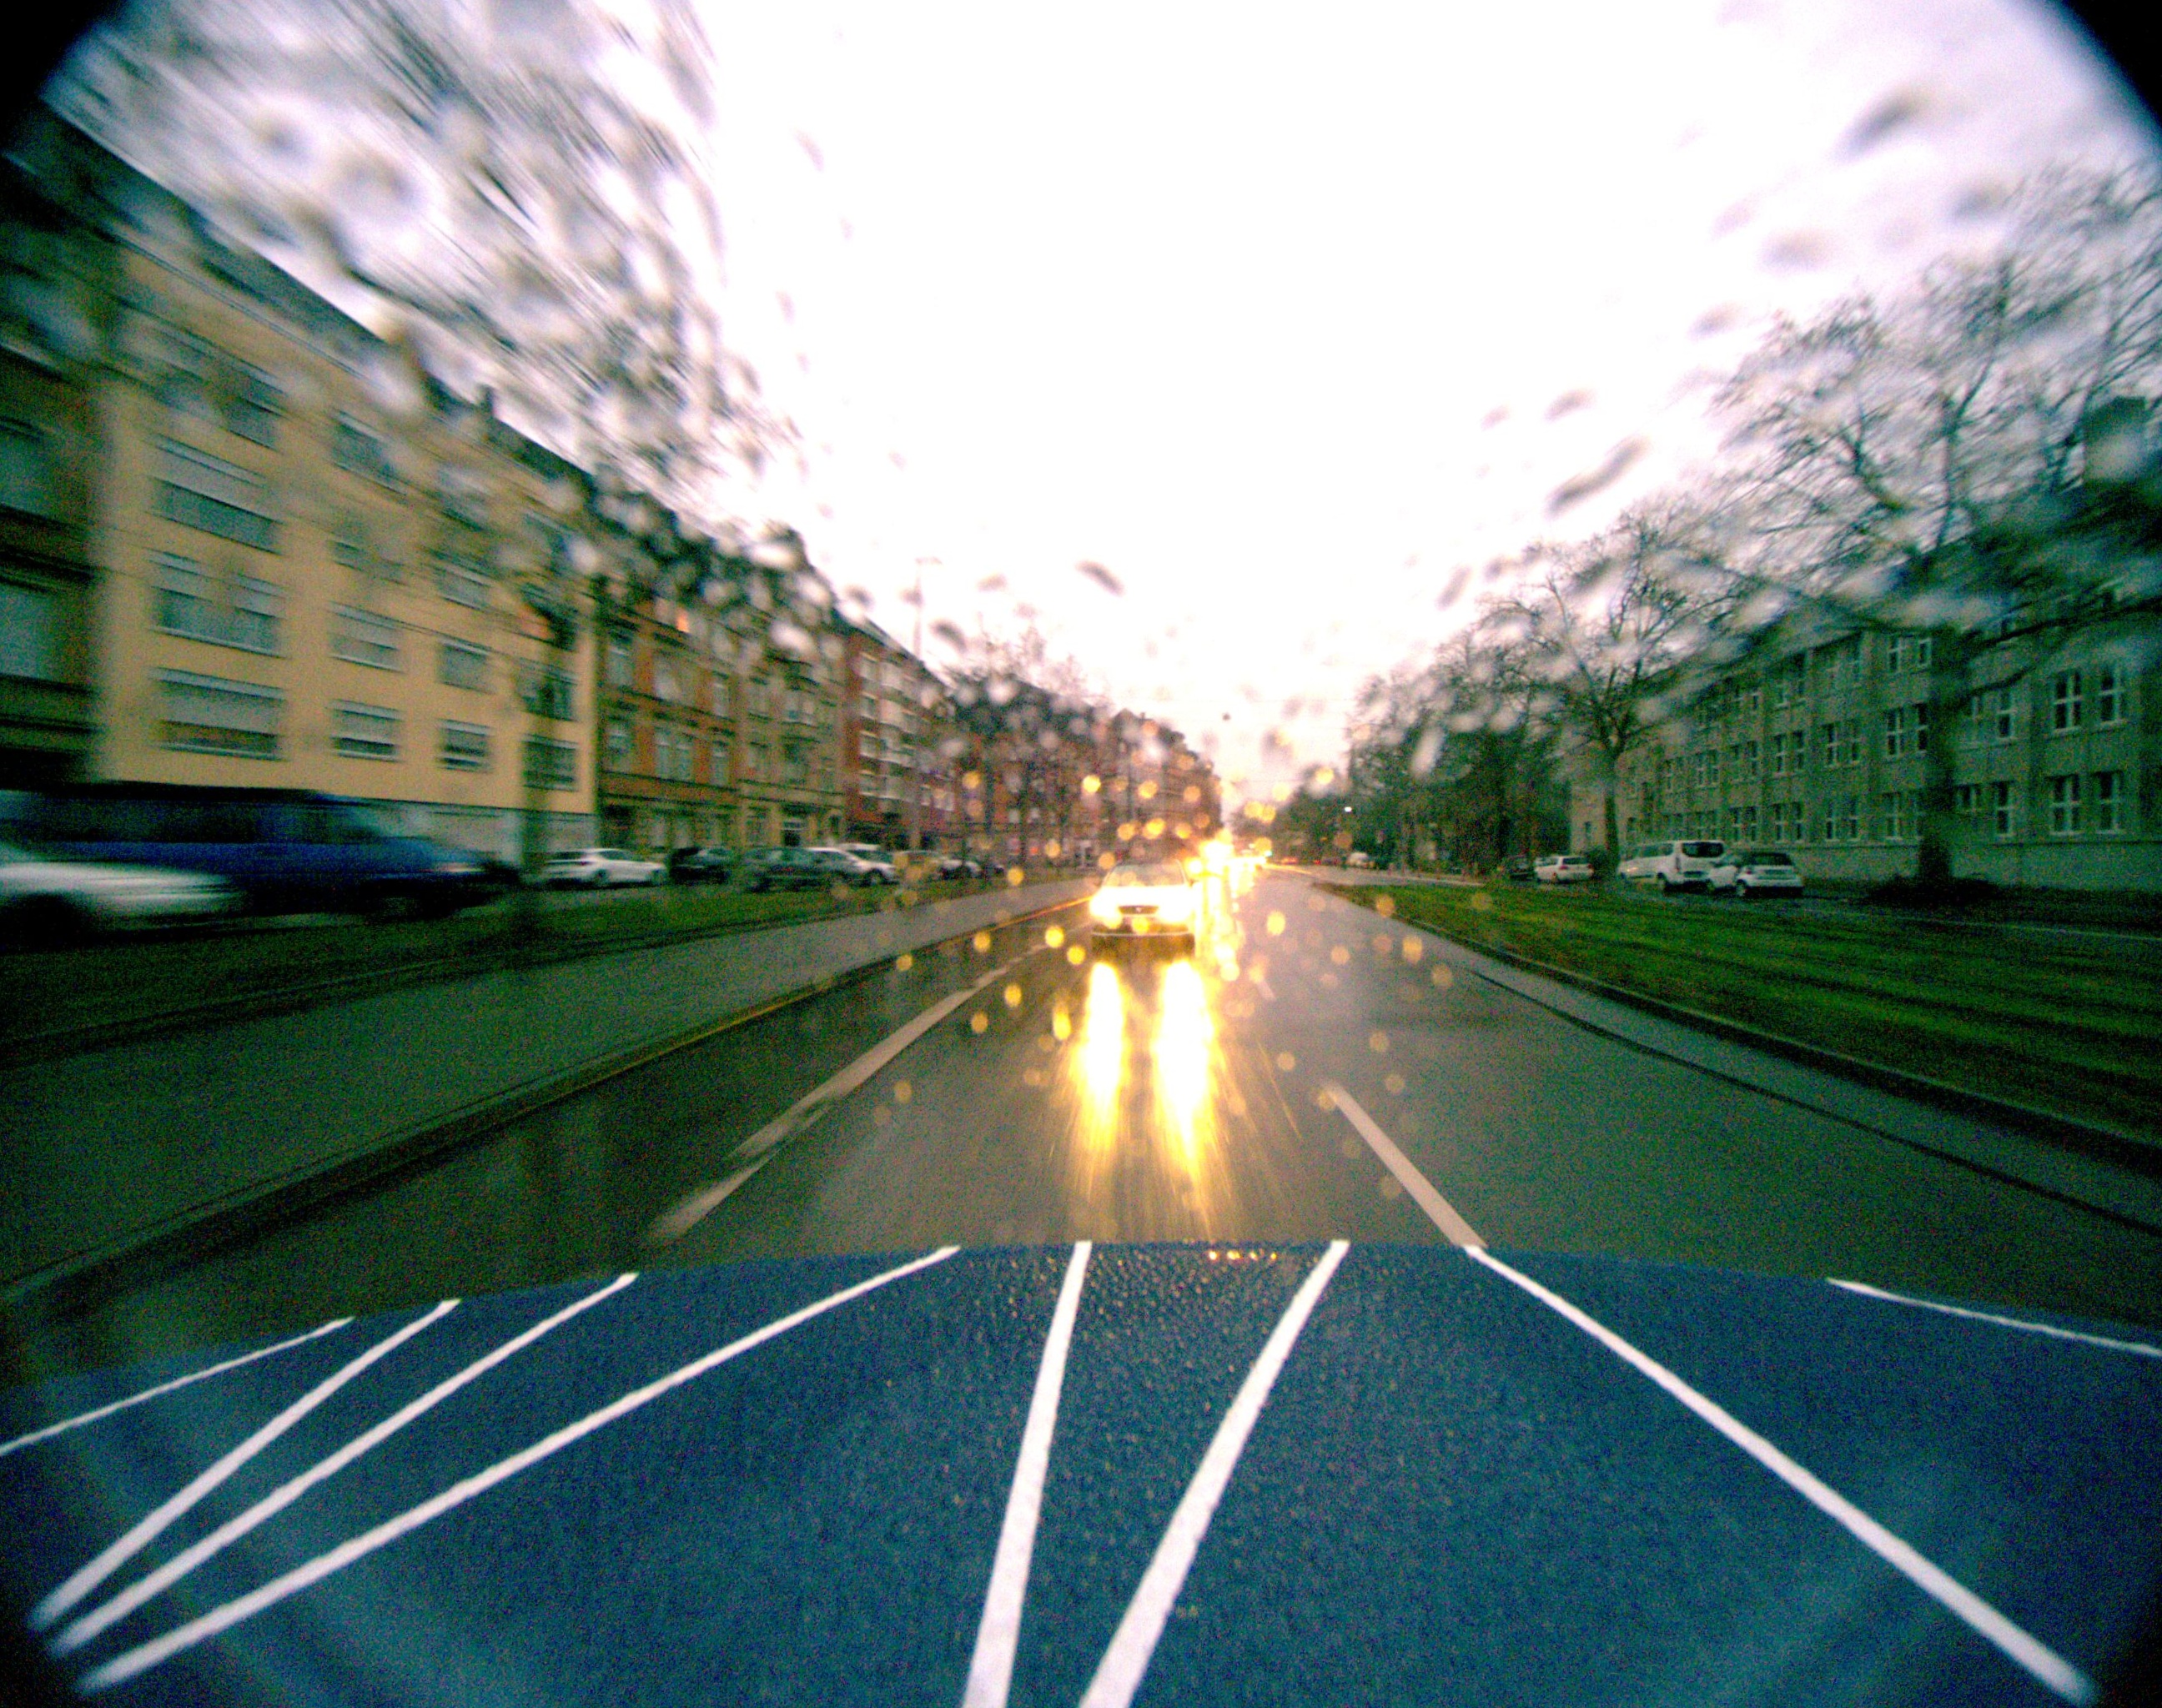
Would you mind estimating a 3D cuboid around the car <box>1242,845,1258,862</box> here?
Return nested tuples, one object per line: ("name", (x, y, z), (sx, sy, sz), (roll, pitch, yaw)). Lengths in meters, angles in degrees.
("car", (24.779, -0.111, 111.357), (2.127, 2.366, 5.644), (-1, 1, 15))

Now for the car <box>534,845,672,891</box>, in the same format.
("car", (-17.112, 0.448, 27.492), (1.749, 1.469, 4.180), (-2, 1, 12))

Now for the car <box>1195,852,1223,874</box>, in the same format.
("car", (8.833, 0.605, 52.214), (1.588, 1.418, 3.137), (0, 0, 15))

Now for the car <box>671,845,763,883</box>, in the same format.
("car", (-15.628, 0.402, 32.832), (1.471, 1.534, 3.876), (1, 0, 13))

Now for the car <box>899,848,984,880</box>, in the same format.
("car", (-6.524, 0.459, 35.495), (3.768, 1.346, 1.599), (-2, 1, -13))

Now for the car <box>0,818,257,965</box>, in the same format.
("car", (-11.601, 0.411, 7.711), (4.005, 1.407, 1.638), (-2, 1, -26))

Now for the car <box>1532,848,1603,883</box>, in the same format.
("car", (25.905, 0.573, 40.583), (1.825, 1.645, 3.862), (-2, 1, 10))

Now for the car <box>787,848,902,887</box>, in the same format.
("car", (-8.326, 0.479, 27.036), (3.768, 1.325, 1.599), (1, 1, -13))

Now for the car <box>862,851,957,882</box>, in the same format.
("car", (-7.312, 0.514, 32.326), (3.770, 1.271, 1.599), (0, 0, -19))

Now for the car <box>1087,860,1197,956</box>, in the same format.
("car", (1.247, 0.891, 13.977), (1.714, 1.405, 3.681), (-2, 1, 9))

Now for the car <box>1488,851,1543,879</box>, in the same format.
("car", (26.779, 0.667, 46.951), (1.614, 1.650, 3.612), (0, 0, 6))

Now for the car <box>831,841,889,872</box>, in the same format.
("car", (-12.976, 0.109, 44.773), (1.672, 1.694, 3.469), (-2, 1, 15))

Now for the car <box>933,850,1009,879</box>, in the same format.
("car", (-5.720, 0.512, 39.355), (3.768, 1.346, 1.599), (-2, 1, -13))

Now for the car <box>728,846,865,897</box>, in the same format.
("car", (-8.934, 0.520, 24.122), (3.877, 1.398, 1.692), (-2, 1, -18))

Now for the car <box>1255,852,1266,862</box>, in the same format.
("car", (33.005, 0.553, 140.006), (1.647, 1.740, 3.559), (1, 0, 18))

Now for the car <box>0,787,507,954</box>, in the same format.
("car", (-11.267, 0.160, 10.727), (4.729, 1.971, 1.795), (-1, 0, -26))

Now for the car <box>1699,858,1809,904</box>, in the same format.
("car", (23.082, 0.872, 26.205), (1.558, 1.420, 2.957), (0, 1, 12))

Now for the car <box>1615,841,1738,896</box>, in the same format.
("car", (23.830, 0.507, 30.634), (1.997, 2.002, 4.512), (-2, 1, 10))

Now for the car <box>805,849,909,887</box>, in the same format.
("car", (-8.659, 0.519, 29.689), (3.768, 1.324, 1.599), (-2, 1, -13))

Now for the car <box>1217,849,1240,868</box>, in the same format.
("car", (14.507, 0.422, 74.978), (1.674, 1.650, 4.148), (-2, 1, 4))

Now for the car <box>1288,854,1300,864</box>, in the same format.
("car", (40.806, 0.880, 145.665), (1.949, 1.804, 4.005), (0, 0, 18))
